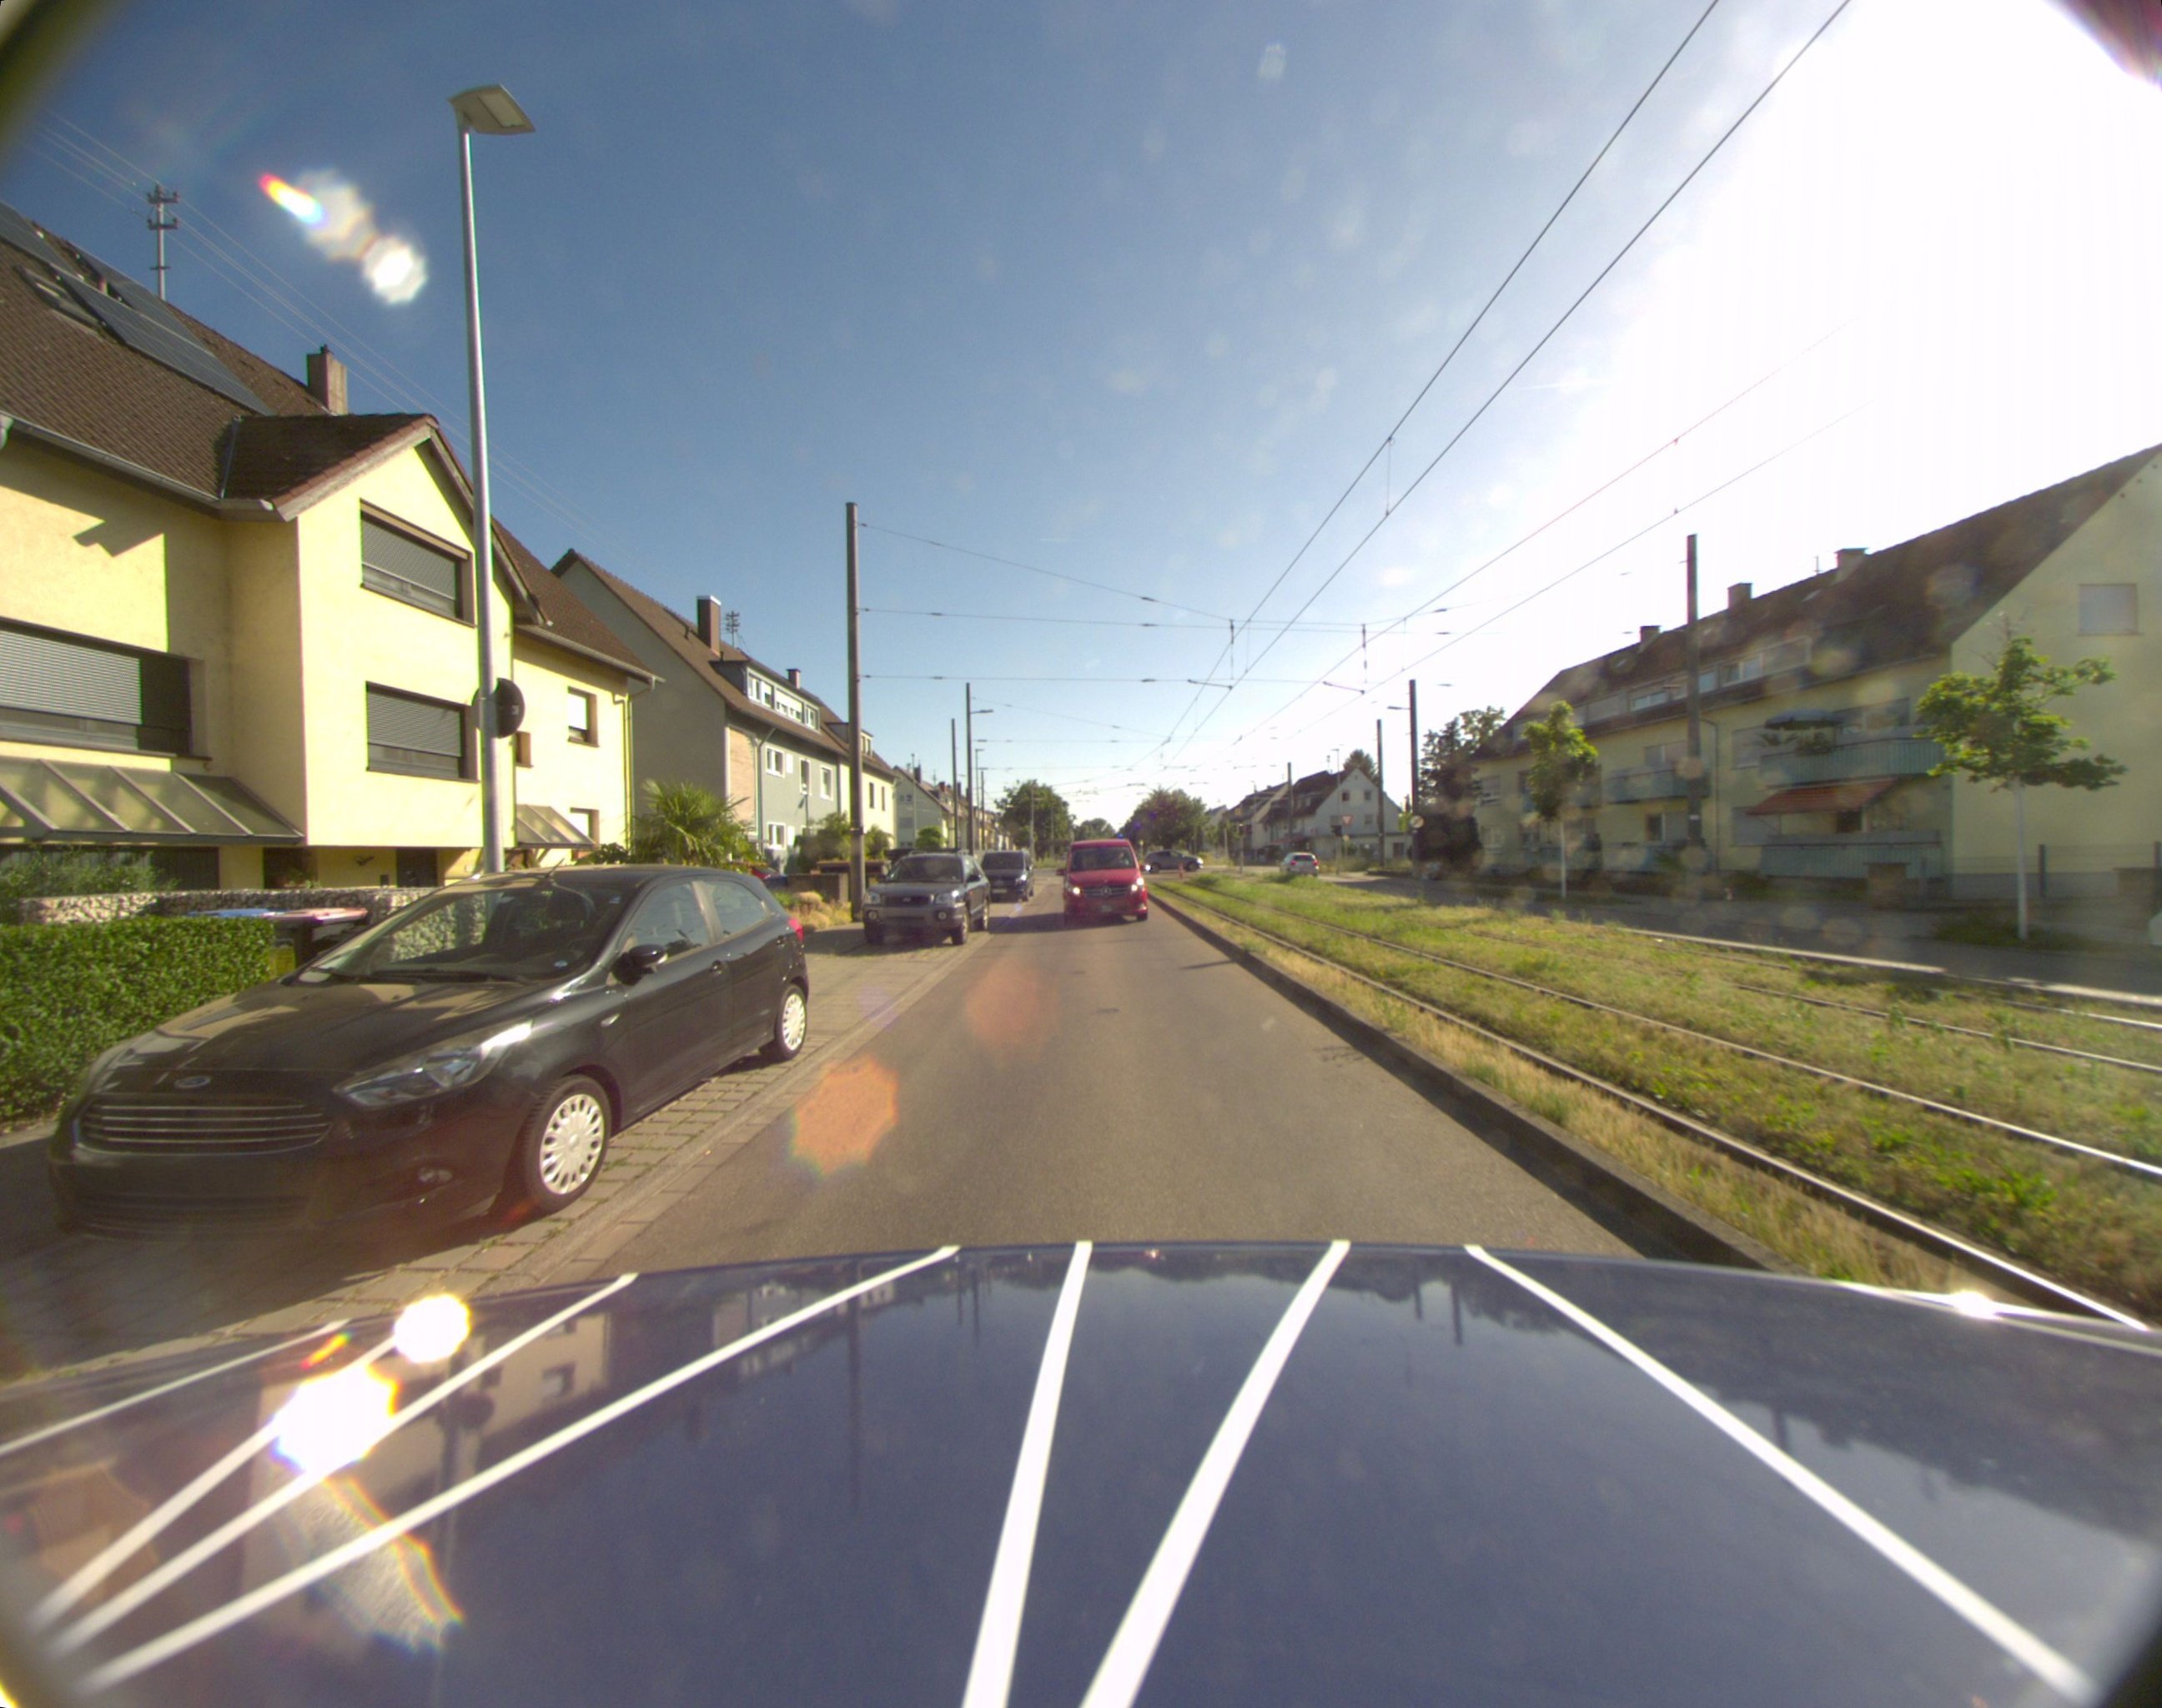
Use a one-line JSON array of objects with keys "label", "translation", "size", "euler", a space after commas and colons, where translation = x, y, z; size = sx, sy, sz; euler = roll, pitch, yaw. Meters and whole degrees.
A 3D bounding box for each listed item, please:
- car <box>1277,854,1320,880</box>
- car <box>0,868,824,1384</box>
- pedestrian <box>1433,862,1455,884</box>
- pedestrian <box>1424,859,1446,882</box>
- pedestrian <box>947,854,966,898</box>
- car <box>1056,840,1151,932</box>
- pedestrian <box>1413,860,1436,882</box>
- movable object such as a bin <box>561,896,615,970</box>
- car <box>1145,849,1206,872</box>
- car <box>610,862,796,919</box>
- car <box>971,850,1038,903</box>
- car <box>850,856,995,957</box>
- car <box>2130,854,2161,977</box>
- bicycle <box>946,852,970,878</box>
[{"label": "car", "translation": [12.502, 0.731, 43.896], "size": [1.553, 1.403, 3.659], "euler": [-1, 0, 2]}, {"label": "car", "translation": [-3.039, 0.914, 4.385], "size": [1.670, 1.538, 3.835], "euler": [1, 0, 2]}, {"label": "pedestrian", "translation": [17.264, 0.910, 36.144], "size": [0.725, 1.000, 0.594], "euler": [-2, 3, -23]}, {"label": "pedestrian", "translation": [17.149, 0.772, 36.848], "size": [0.821, 1.059, 0.625], "euler": [-2, 3, -32]}, {"label": "pedestrian", "translation": [-4.848, 0.850, 29.595], "size": [0.584, 1.713, 0.714], "euler": [-1, 1, 2]}, {"label": "car", "translation": [0.399, 0.681, 19.161], "size": [1.999, 1.970, 5.236], "euler": [-1, 1, -2]}, {"label": "pedestrian", "translation": [17.049, 0.827, 37.709], "size": [0.819, 1.040, 0.687], "euler": [-1, 2, -2]}, {"label": "movable object such as a bin", "translation": [-7.518, 1.194, 11.590], "size": [0.559, 1.056, 0.205], "euler": [-5, 3, -5]}, {"label": "car", "translation": [6.647, 0.444, 53.850], "size": [3.998, 1.570, 1.830], "euler": [-1, 1, -3]}, {"label": "car", "translation": [-10.323, 0.960, 20.990], "size": [4.175, 1.459, 1.900], "euler": [-1, 0, 0]}, {"label": "car", "translation": [-2.774, 0.761, 28.711], "size": [1.966, 1.825, 4.926], "euler": [-1, 0, 1]}, {"label": "car", "translation": [-2.918, 0.886, 15.032], "size": [1.859, 1.649, 4.473], "euler": [-1, 0, 1]}, {"label": "car", "translation": [14.122, 0.768, 7.522], "size": [1.696, 1.509, 4.214], "euler": [-1, 0, 1]}, {"label": "bicycle", "translation": [-4.839, 0.438, 30.026], "size": [0.602, 0.974, 1.562], "euler": [1, 1, 3]}]
